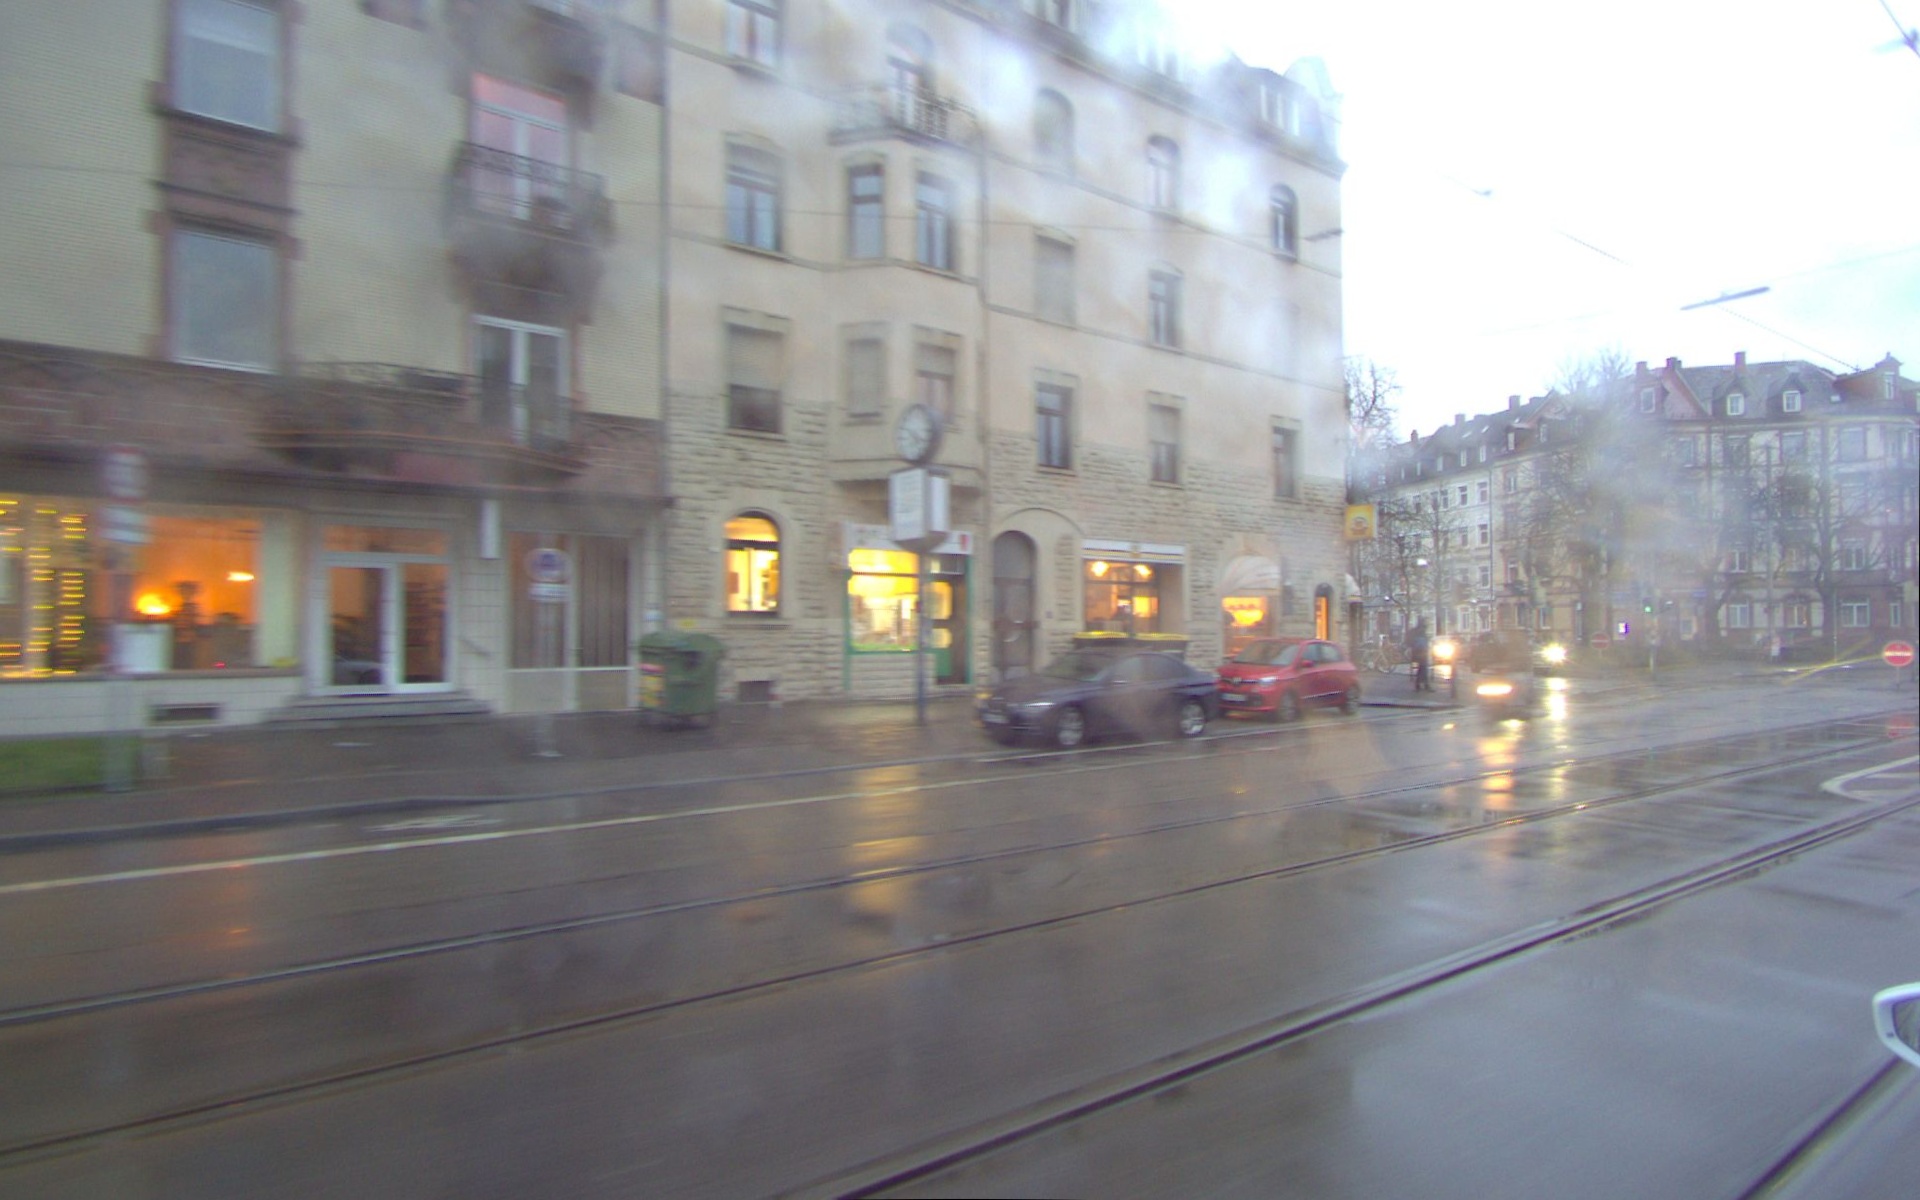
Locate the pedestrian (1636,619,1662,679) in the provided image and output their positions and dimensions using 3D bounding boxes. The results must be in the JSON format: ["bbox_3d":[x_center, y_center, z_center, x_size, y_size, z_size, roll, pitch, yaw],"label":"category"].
[{"bbox_3d":[23.571,1.665,34.354,0.695,2.040,0.658,-1,-2,36],"label":"pedestrian"}]

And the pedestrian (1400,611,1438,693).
[{"bbox_3d":[11.694,1.321,25.615,0.635,2.040,0.758,1,-1,2],"label":"pedestrian"}]

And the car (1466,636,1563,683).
[{"bbox_3d":[21.413,2.257,38.972,1.981,1.695,4.003,0,-2,8],"label":"car"}]

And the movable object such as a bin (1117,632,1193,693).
[{"bbox_3d":[4.630,1.449,23.841,1.239,1.385,1.286,1,-2,-34],"label":"movable object such as a bin"}]

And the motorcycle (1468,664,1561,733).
[{"bbox_3d":[9.243,1.606,16.711,1.906,1.005,0.847,2,-2,-45],"label":"motorcycle"}]

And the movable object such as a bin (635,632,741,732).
[{"bbox_3d":[-4.160,1.202,15.317,1.237,1.439,1.260,1,-2,-34],"label":"movable object such as a bin"}]

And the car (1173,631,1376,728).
[{"bbox_3d":[6.355,1.497,20.162,3.998,1.572,2.020,1,2,-40],"label":"car"}]

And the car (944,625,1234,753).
[{"bbox_3d":[2.191,1.348,16.403,4.589,1.667,1.971,2,2,-37],"label":"car"}]

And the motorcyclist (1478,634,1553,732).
[{"bbox_3d":[9.266,1.345,16.752,1.008,1.569,0.835,1,-2,-45],"label":"motorcyclist"}]

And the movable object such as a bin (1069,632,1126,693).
[{"bbox_3d":[3.205,1.438,23.439,0.996,1.395,0.893,1,-2,-34],"label":"movable object such as a bin"}]
